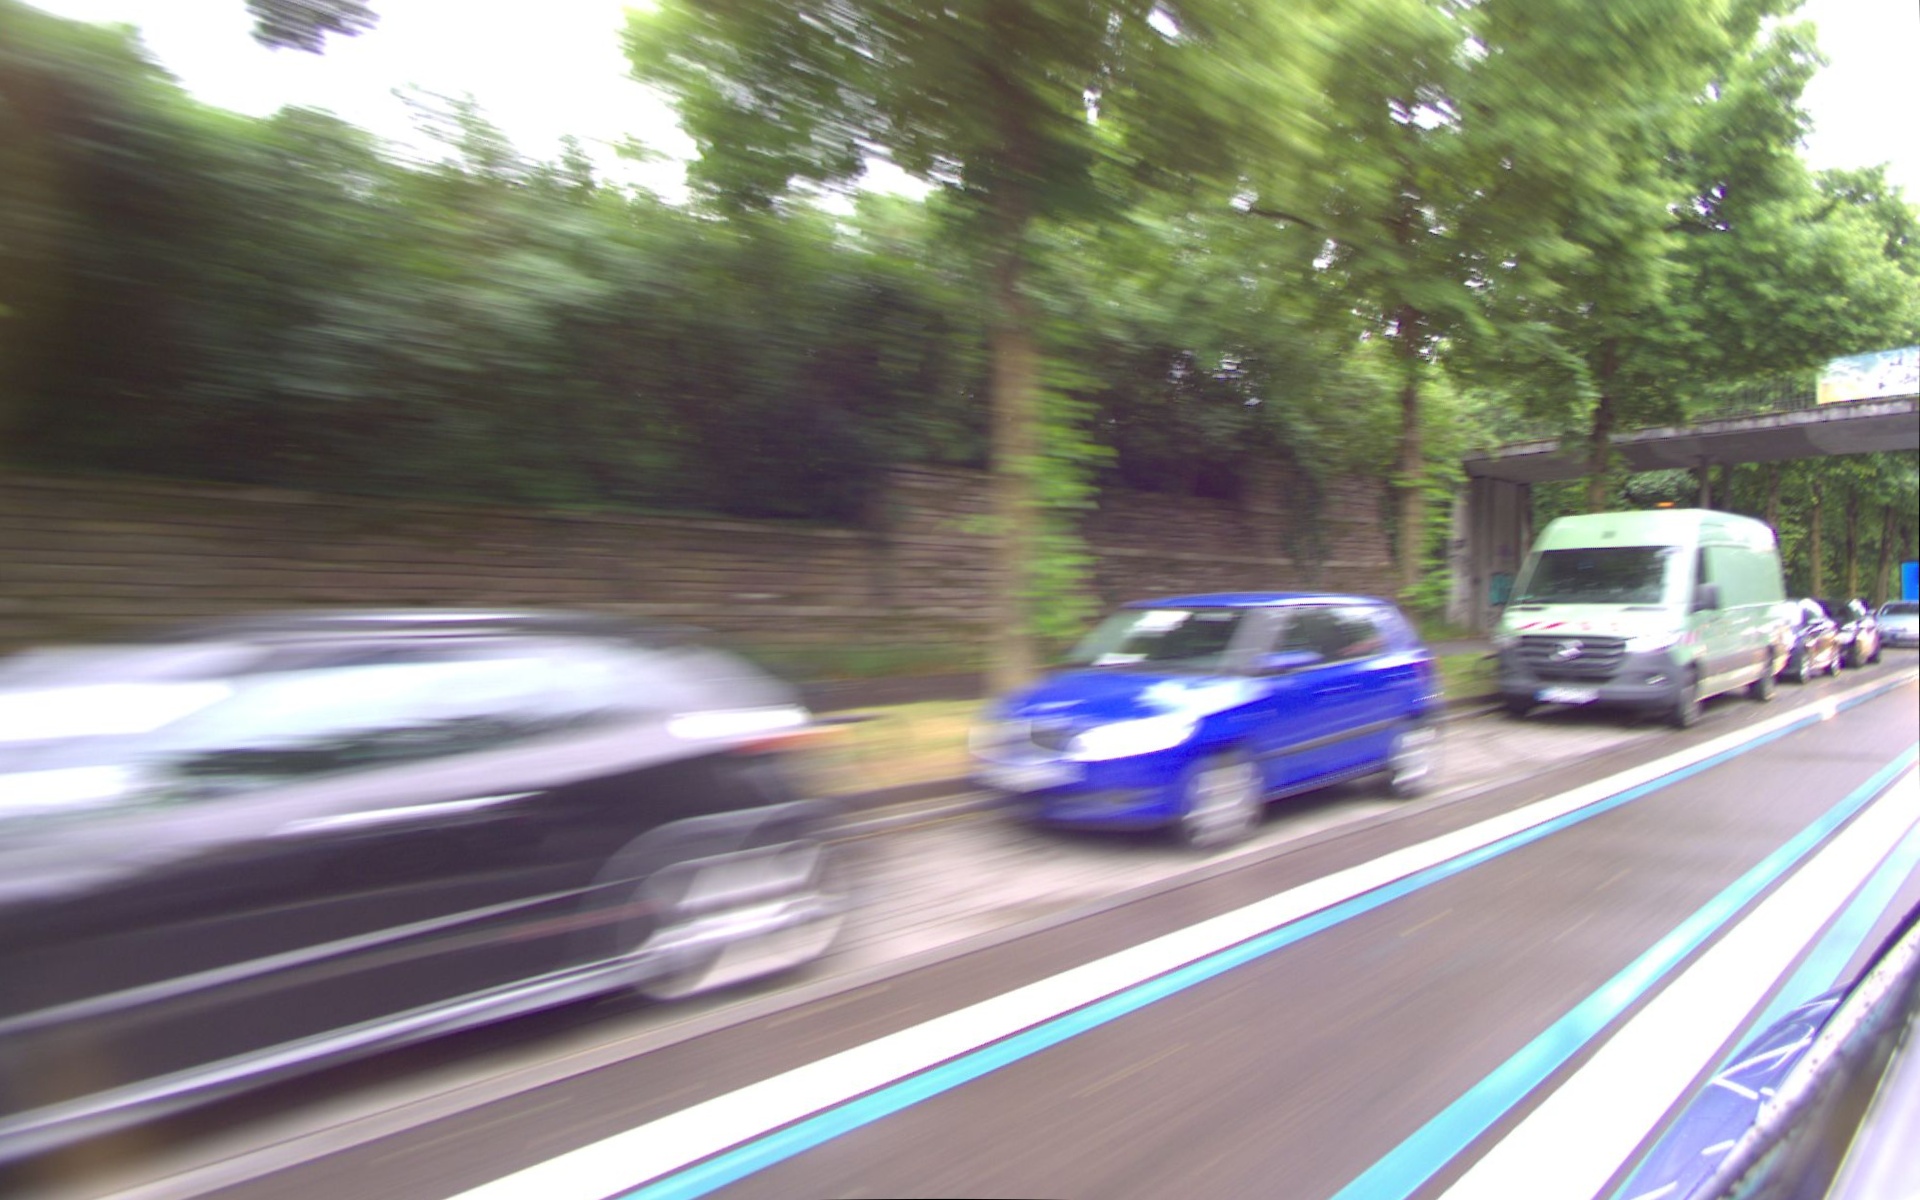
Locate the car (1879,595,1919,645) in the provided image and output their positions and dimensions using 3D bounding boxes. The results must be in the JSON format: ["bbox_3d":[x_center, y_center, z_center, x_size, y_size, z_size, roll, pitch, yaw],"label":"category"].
[{"bbox_3d":[27.746,0.547,29.129,3.798,1.370,1.585,0,-1,-43],"label":"car"}]

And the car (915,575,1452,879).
[{"bbox_3d":[1.692,0.643,6.985,3.767,1.533,1.688,0,-1,-41],"label":"car"}]

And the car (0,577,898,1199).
[{"bbox_3d":[-2.310,0.697,3.366,4.077,1.474,1.687,0,-1,-44],"label":"car"}]

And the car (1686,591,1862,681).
[{"bbox_3d":[14.737,0.583,18.258,4.027,1.434,1.689,-1,0,-40],"label":"car"}]

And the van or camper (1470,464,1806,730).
[{"bbox_3d":[9.291,-0.035,13.511,6.781,2.764,2.045,0,-1,-42],"label":"van or camper"}]

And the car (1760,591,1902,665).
[{"bbox_3d":[18.779,0.539,21.757,4.123,1.434,1.689,0,0,-40],"label":"car"}]

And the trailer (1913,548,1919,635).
[{"bbox_3d":[32.966,-0.288,33.286,3.937,2.793,1.956,0,0,-41],"label":"trailer"}]
